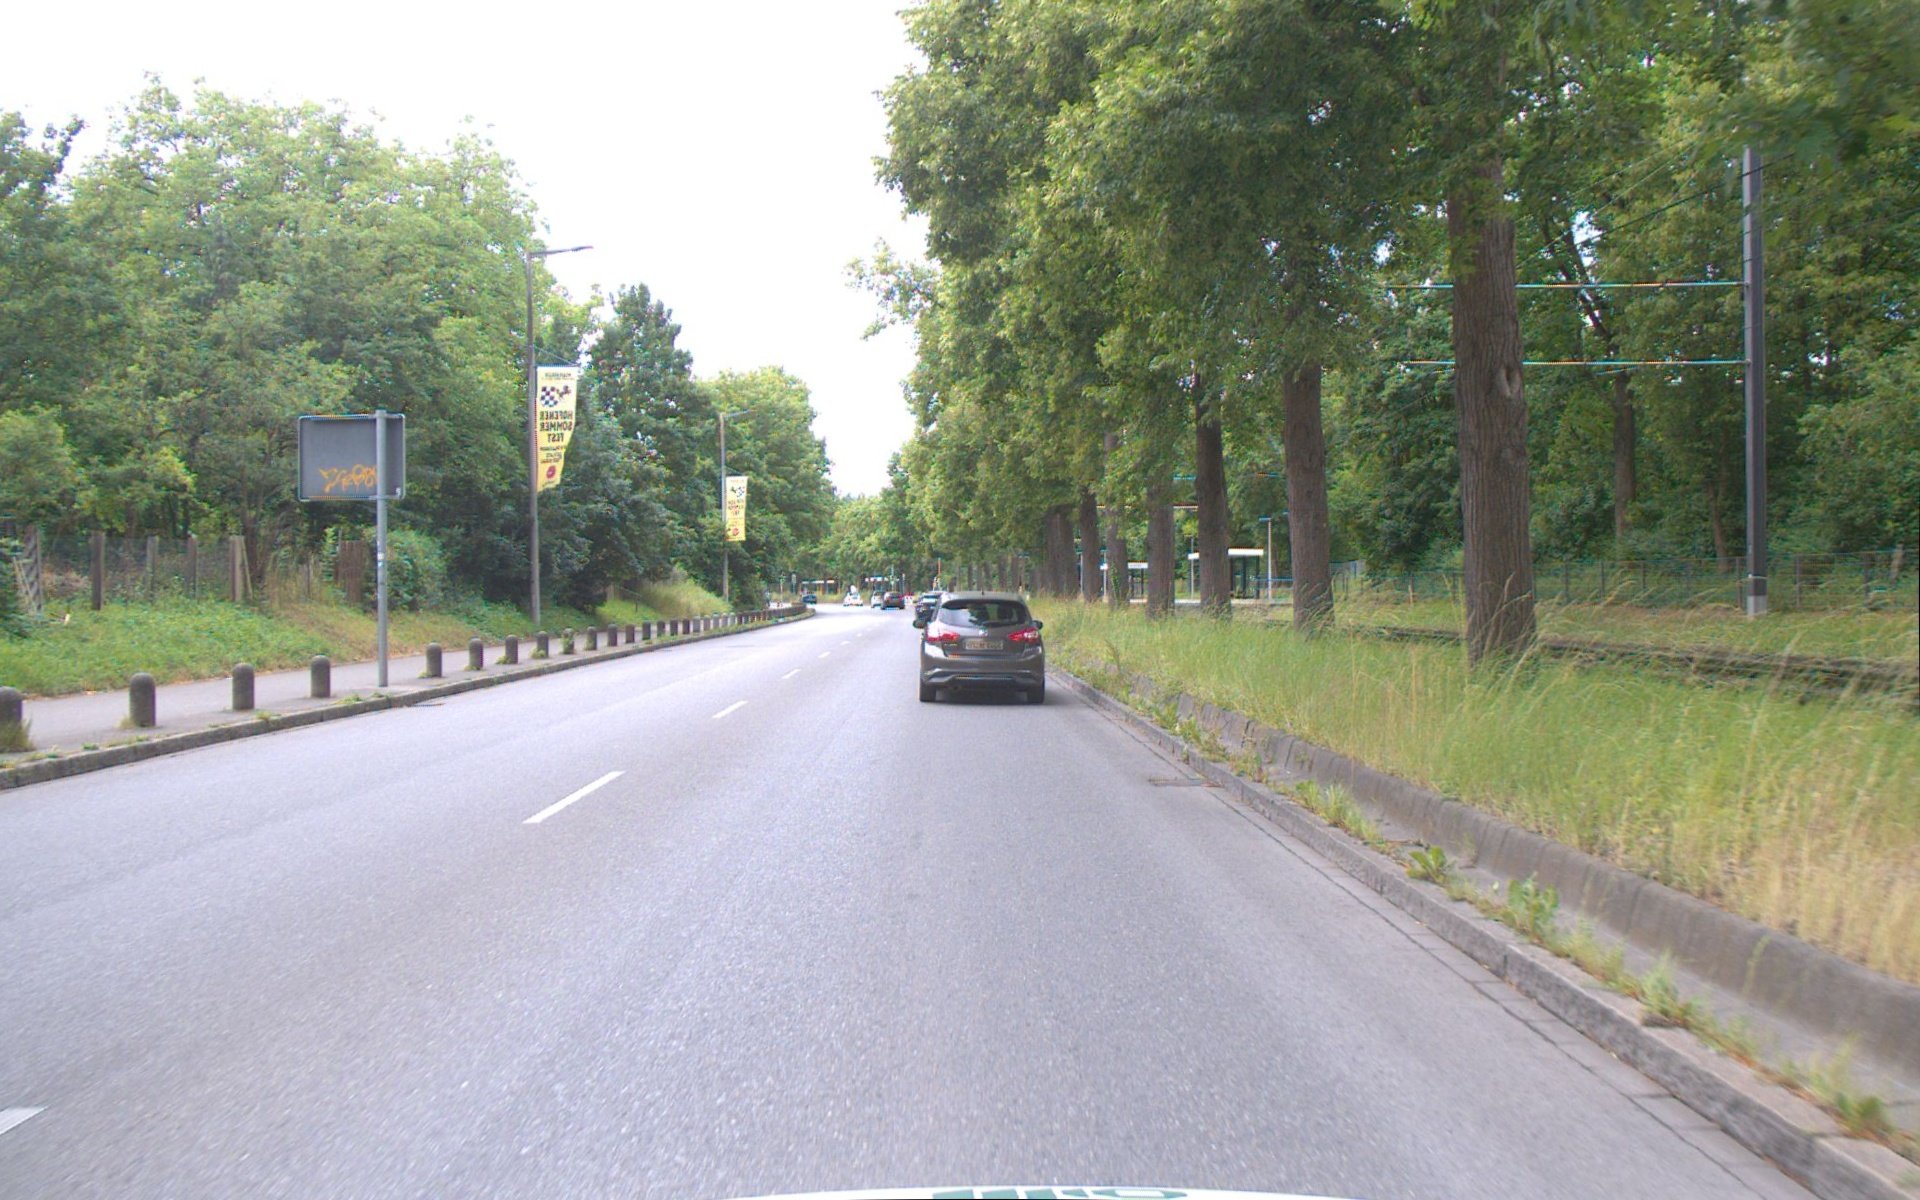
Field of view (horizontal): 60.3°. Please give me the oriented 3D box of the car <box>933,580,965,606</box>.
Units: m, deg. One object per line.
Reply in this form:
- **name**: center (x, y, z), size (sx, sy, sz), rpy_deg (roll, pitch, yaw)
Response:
- **car**: center (-0.677, -0.425, 98.190), size (1.532, 1.466, 3.546), rpy_deg (1, 0, -7)

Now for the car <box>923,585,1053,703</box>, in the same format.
- **car**: center (0.338, 0.576, 23.949), size (1.695, 1.564, 3.550), rpy_deg (1, 0, -2)

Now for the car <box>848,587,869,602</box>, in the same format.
- **car**: center (-10.765, -0.584, 175.543), size (1.536, 1.466, 3.537), rpy_deg (1, 0, -15)

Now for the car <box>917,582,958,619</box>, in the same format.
- **car**: center (-1.009, 0.018, 72.757), size (1.695, 1.564, 3.550), rpy_deg (1, 0, -2)

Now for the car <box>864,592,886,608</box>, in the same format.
- **car**: center (-7.935, 0.007, 153.784), size (1.534, 1.466, 3.541), rpy_deg (1, 0, -12)

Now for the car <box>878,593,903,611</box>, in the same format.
- **car**: center (-5.829, 0.159, 138.069), size (1.534, 1.466, 3.541), rpy_deg (1, 0, -12)

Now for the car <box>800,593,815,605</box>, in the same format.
- **car**: center (-19.317, -0.189, 209.111), size (1.533, 1.466, 3.542), rpy_deg (1, 0, -11)
